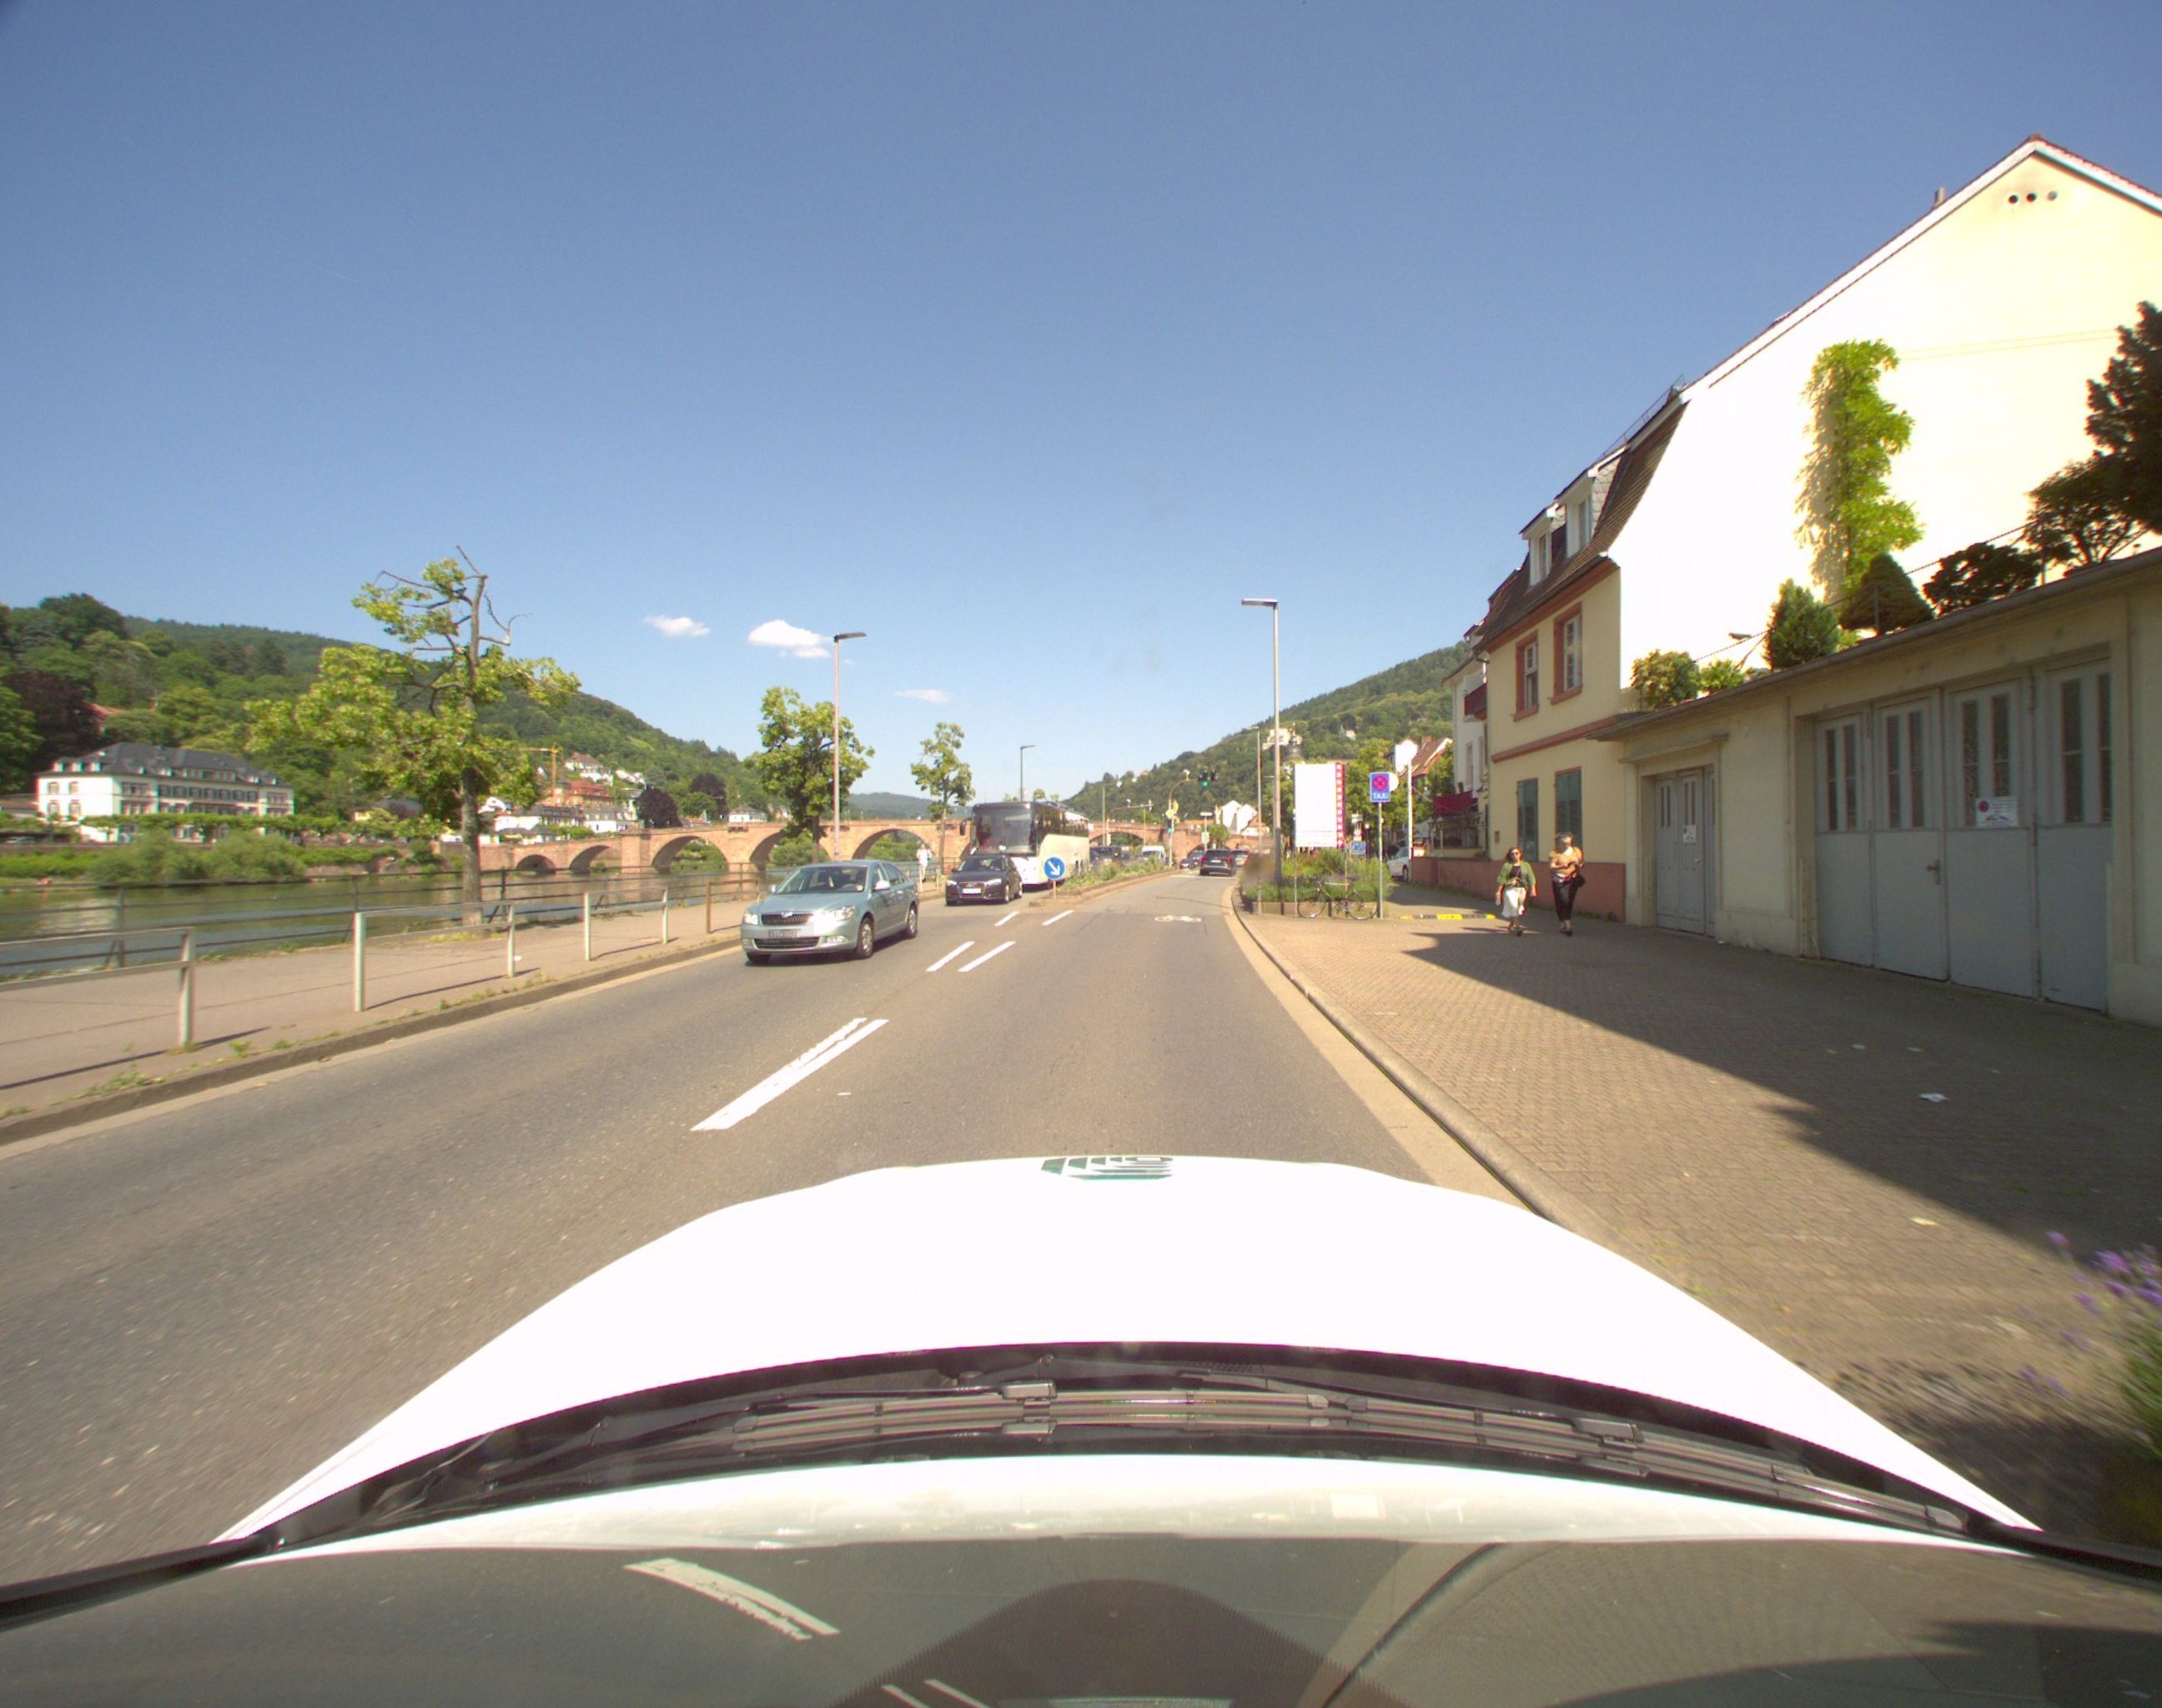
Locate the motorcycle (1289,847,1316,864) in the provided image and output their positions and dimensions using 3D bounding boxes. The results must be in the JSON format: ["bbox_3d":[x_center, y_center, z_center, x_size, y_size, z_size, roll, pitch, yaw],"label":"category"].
[{"bbox_3d":[19.793,0.158,72.851,0.768,1.465,2.273,0,-2,-36],"label":"motorcycle"}]

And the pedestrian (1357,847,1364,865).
[{"bbox_3d":[24.384,0.187,71.011,0.457,1.517,0.691,1,0,5],"label":"pedestrian"}]

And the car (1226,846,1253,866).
[{"bbox_3d":[12.064,0.146,61.907,1.914,1.461,4.847,0,0,11],"label":"car"}]

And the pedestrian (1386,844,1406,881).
[{"bbox_3d":[16.199,0.413,41.907,0.758,1.858,0.611,-2,0,5],"label":"pedestrian"}]

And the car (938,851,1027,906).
[{"bbox_3d":[-2.824,0.664,24.295,1.808,1.429,4.198,-2,0,4],"label":"car"}]

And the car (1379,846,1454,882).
[{"bbox_3d":[15.595,0.431,38.120,1.869,1.577,4.733,0,0,4],"label":"car"}]

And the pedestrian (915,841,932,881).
[{"bbox_3d":[-7.075,0.313,36.591,0.617,1.780,0.663,0,0,5],"label":"pedestrian"}]

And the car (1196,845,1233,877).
[{"bbox_3d":[7.530,0.332,45.747,1.915,1.553,4.846,2,2,10],"label":"car"}]

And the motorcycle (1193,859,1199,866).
[{"bbox_3d":[17.929,1.303,126.577,0.752,1.131,2.463,-1,0,11],"label":"motorcycle"}]

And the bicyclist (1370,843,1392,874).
[{"bbox_3d":[15.728,0.246,42.695,0.764,1.583,1.089,0,0,-1],"label":"bicyclist"}]

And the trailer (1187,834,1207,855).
[{"bbox_3d":[20.383,-1.606,142.205,2.639,3.403,8.858,-1,0,13],"label":"trailer"}]

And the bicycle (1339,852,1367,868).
[{"bbox_3d":[21.028,0.478,62.902,1.994,1.198,0.524,1,1,25],"label":"bicycle"}]

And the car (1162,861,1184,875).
[{"bbox_3d":[10.048,1.502,88.451,1.806,1.456,4.946,-3,-1,13],"label":"car"}]

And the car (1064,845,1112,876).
[{"bbox_3d":[0.489,0.346,47.234,1.982,1.598,5.170,-3,0,9],"label":"car"}]

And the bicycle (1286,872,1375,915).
[{"bbox_3d":[5.525,0.873,18.054,1.803,0.878,0.502,1,1,1],"label":"bicycle"}]

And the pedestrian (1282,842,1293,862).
[{"bbox_3d":[17.590,-0.134,69.401,0.690,1.677,0.765,-2,0,5],"label":"pedestrian"}]

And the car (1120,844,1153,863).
[{"bbox_3d":[4.563,-0.019,66.108,1.939,1.409,4.586,-3,-1,13],"label":"car"}]

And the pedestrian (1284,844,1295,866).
[{"bbox_3d":[17.655,0.074,68.906,0.690,1.771,0.765,-2,0,5],"label":"pedestrian"}]

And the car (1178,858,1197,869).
[{"bbox_3d":[14.972,1.398,114.401,1.938,1.413,4.235,-3,-2,15],"label":"car"}]

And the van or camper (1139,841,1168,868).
[{"bbox_3d":[7.232,0.091,81.102,1.979,2.450,5.514,-2,-1,14],"label":"van or camper"}]

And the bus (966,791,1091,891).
[{"bbox_3d":[-1.808,-0.395,35.550,2.615,3.564,13.015,-1,-1,9],"label":"bus"}]

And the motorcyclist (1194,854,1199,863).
[{"bbox_3d":[17.935,0.702,126.548,0.731,1.470,1.014,-1,0,11],"label":"motorcyclist"}]

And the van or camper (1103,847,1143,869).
[{"bbox_3d":[3.067,0.286,58.632,1.980,1.477,5.083,-2,-1,13],"label":"van or camper"}]

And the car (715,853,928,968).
[{"bbox_3d":[-3.896,0.761,13.101,1.806,1.428,4.314,-2,1,3],"label":"car"}]

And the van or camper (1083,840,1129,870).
[{"bbox_3d":[1.711,0.061,53.628,1.979,1.873,5.198,-1,0,14],"label":"van or camper"}]

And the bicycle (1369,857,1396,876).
[{"bbox_3d":[15.729,0.621,42.511,0.747,0.964,1.782,0,0,1],"label":"bicycle"}]

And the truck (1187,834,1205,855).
[{"bbox_3d":[19.603,-1.595,138.903,2.639,3.403,4.466,-1,0,13],"label":"truck"}]

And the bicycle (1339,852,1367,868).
[{"bbox_3d":[20.829,0.460,62.430,1.980,1.198,0.524,2,1,25],"label":"bicycle"}]

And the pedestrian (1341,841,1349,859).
[{"bbox_3d":[25.880,-0.391,79.797,0.702,1.653,0.709,-1,0,13],"label":"pedestrian"}]

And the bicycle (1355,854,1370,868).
[{"bbox_3d":[22.073,0.536,63.810,0.588,1.067,2.078,-1,-2,32],"label":"bicycle"}]

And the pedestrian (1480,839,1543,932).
[{"bbox_3d":[7.498,0.535,14.211,0.758,1.595,0.697,0,0,5],"label":"pedestrian"}]

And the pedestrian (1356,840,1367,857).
[{"bbox_3d":[24.378,-0.500,70.740,0.623,1.382,0.542,-6,-1,5],"label":"pedestrian"}]

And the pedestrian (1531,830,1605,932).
[{"bbox_3d":[8.390,0.454,14.061,0.734,1.698,0.935,-1,0,5],"label":"pedestrian"}]
